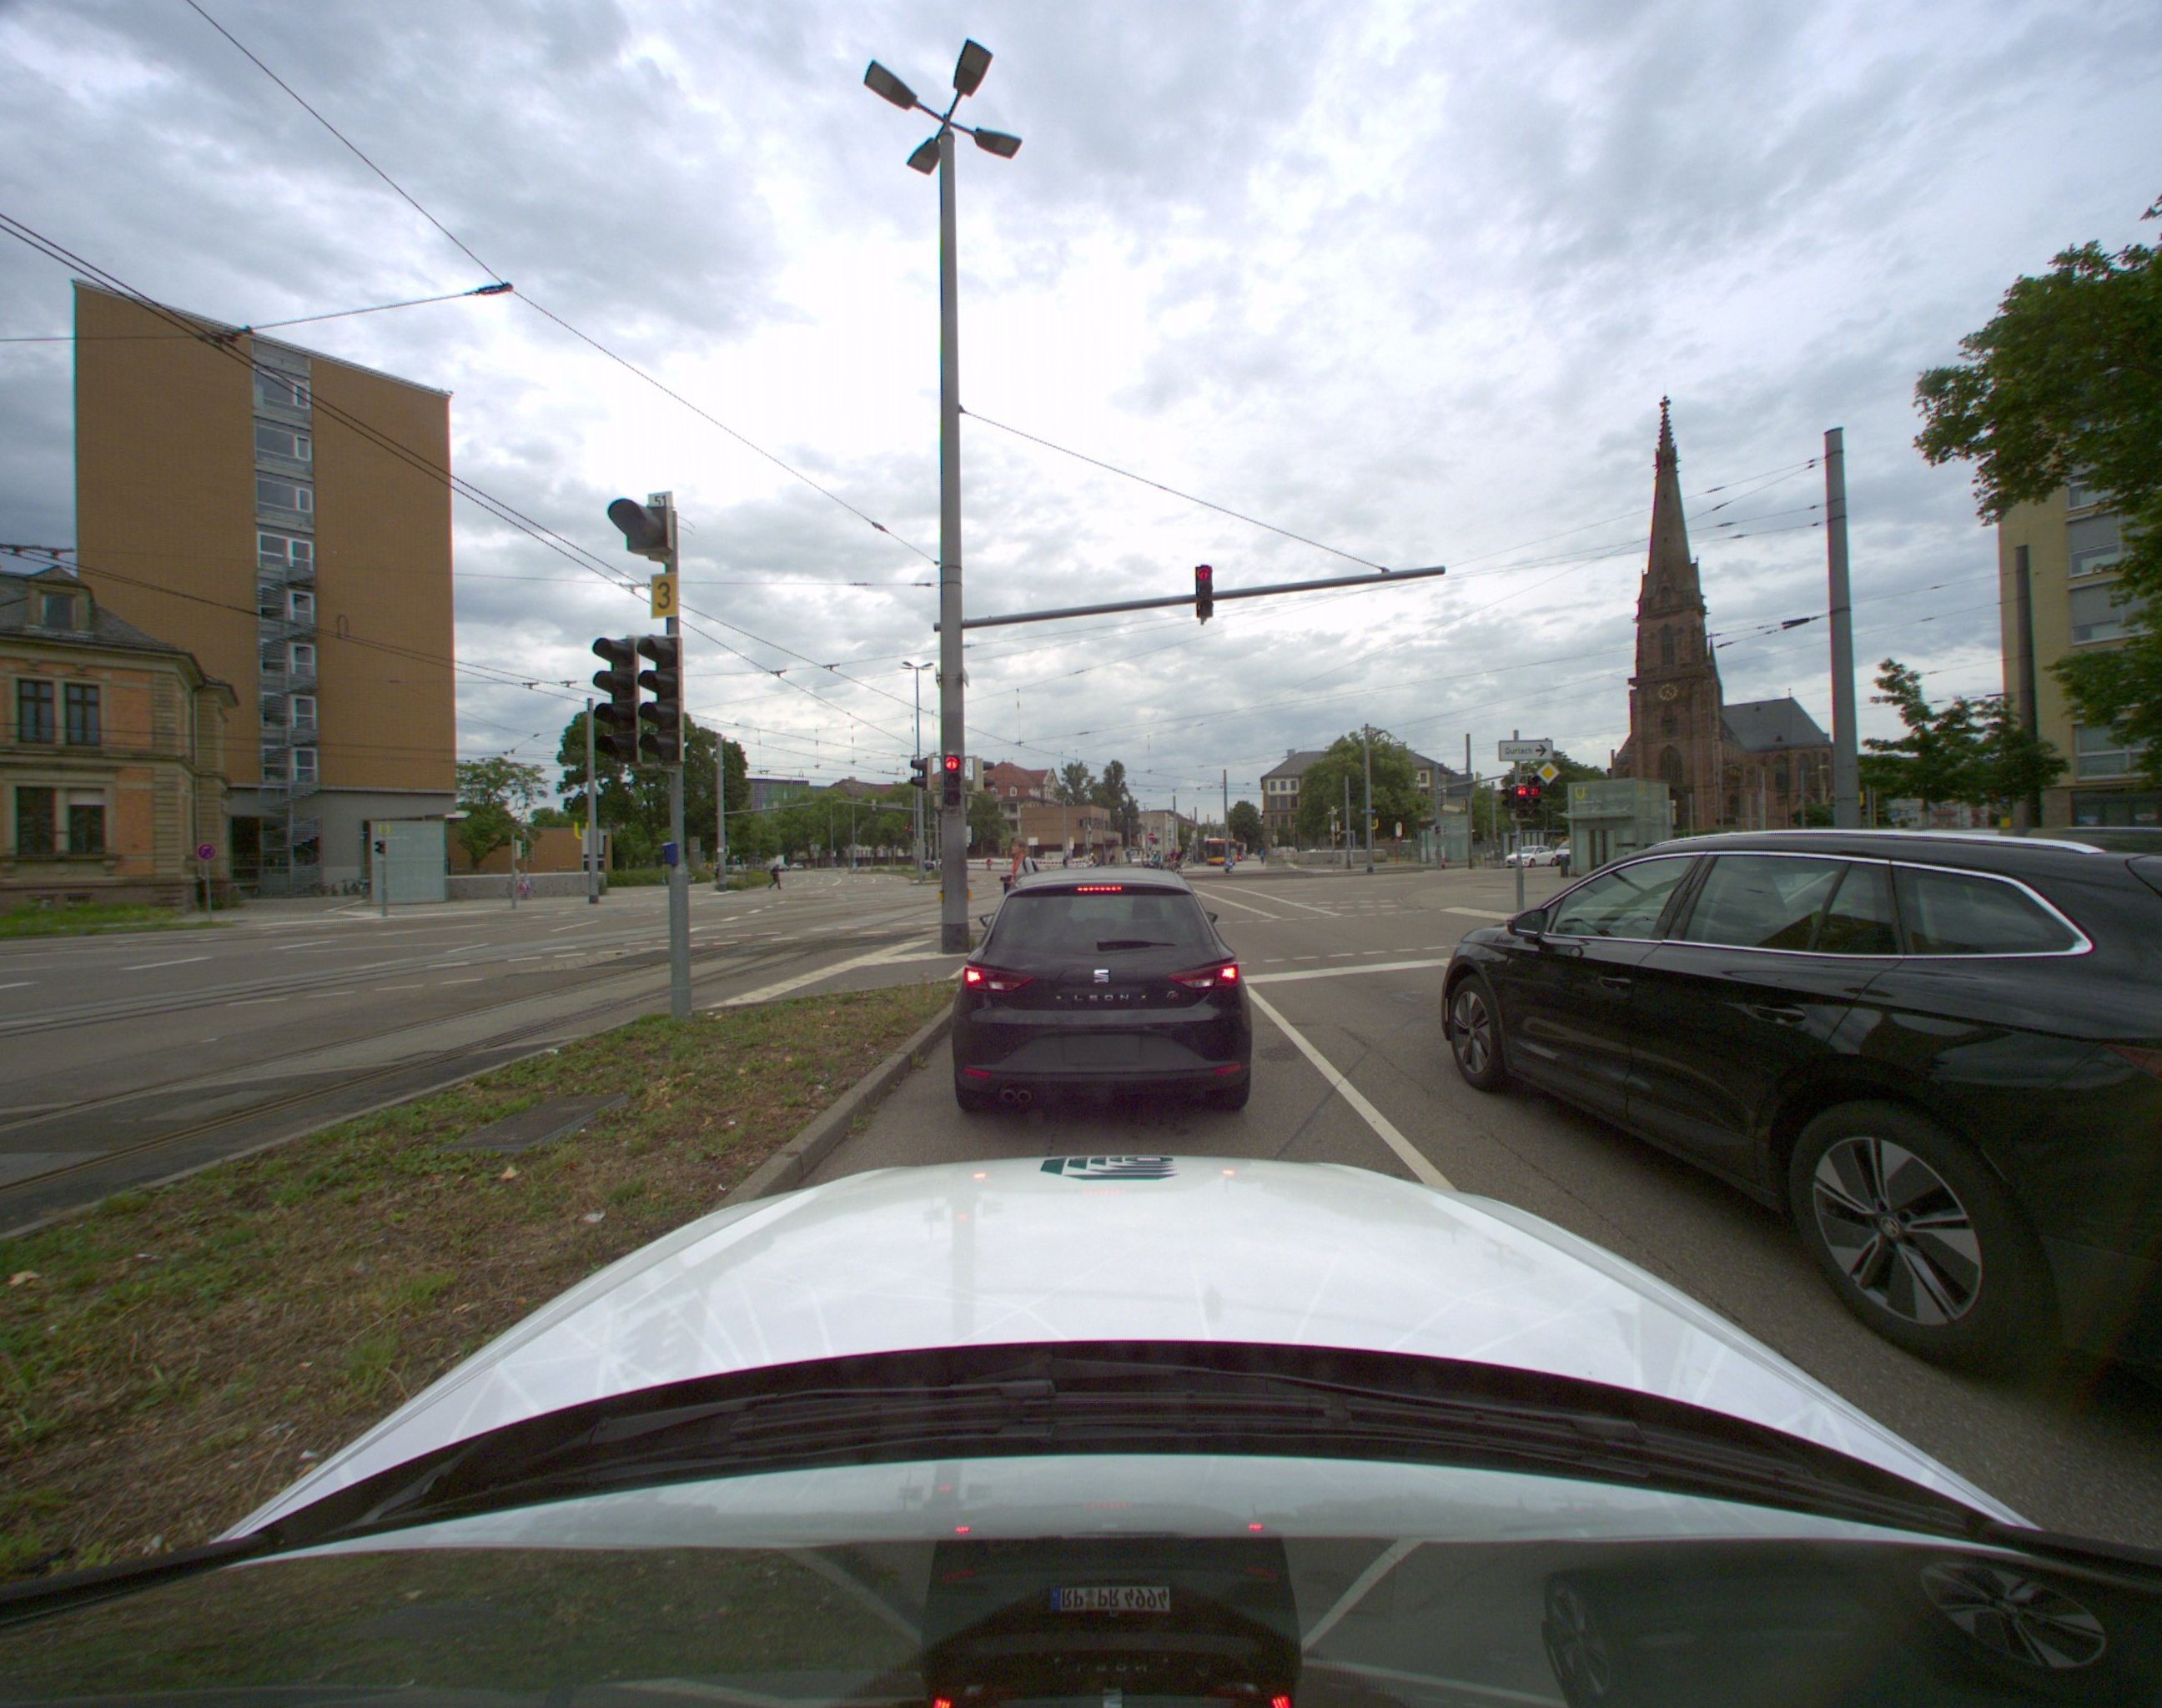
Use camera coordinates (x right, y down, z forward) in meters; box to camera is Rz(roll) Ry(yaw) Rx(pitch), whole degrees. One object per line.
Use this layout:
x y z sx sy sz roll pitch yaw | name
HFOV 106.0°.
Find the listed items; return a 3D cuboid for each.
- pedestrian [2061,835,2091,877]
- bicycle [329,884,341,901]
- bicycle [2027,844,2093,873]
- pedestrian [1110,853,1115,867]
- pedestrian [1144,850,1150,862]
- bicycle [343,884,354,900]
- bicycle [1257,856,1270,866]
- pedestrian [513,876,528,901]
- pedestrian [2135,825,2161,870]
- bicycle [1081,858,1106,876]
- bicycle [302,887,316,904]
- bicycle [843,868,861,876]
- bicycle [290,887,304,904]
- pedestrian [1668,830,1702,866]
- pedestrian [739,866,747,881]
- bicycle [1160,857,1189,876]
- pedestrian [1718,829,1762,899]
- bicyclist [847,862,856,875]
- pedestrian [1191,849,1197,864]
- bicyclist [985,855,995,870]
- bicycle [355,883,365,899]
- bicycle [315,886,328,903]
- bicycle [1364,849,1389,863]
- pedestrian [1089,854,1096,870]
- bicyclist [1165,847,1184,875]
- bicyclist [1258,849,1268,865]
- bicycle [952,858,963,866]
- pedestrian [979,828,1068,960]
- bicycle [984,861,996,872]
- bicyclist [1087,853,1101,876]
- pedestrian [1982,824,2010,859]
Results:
39.505 0.060 32.321 0.875 1.638 0.631 -1 0 -32 | pedestrian
-51.150 2.631 55.834 0.575 1.106 1.411 -1 0 -41 | bicycle
31.509 0.141 26.216 0.596 0.917 1.253 -1 0 -28 | bicycle
4.360 0.834 112.732 0.618 1.918 0.711 -2 0 5 | pedestrian
11.320 0.333 139.464 0.615 1.918 0.715 -3 -2 27 | pedestrian
-50.647 2.622 56.278 0.512 1.049 1.411 -1 0 -41 | bicycle
21.303 0.796 95.154 0.863 1.104 2.299 -1 0 -3 | bicycle
-30.727 1.911 44.635 0.492 1.336 0.577 -2 -1 41 | pedestrian
39.282 -0.250 29.864 0.875 1.638 0.631 -1 0 -31 | pedestrian
0.950 0.993 62.470 1.736 1.321 0.641 -1 0 -21 | bicycle
-52.081 2.770 54.952 0.575 1.106 1.411 -1 0 -41 | bicycle
-35.763 2.751 127.053 0.930 1.179 2.747 -2 0 30 | bicycle
-52.531 2.784 54.547 0.575 1.106 1.411 -1 0 -41 | bicycle
31.246 -0.297 42.124 0.950 1.797 1.076 -1 -2 -32 | pedestrian
-43.719 2.539 105.278 0.880 1.981 0.791 -1 -2 -17 | pedestrian
6.215 0.821 54.282 2.044 1.184 0.768 -1 0 -44 | bicycle
18.743 0.281 23.161 0.878 1.930 1.023 -1 0 43 | pedestrian
-35.779 2.317 127.057 0.928 2.013 0.984 -2 0 30 | bicyclist
14.401 0.368 103.942 0.617 1.918 0.701 -2 0 11 | pedestrian
-10.644 0.968 95.141 0.886 1.732 0.888 -1 0 -20 | bicyclist
-50.233 2.592 56.717 0.484 1.049 1.411 -1 0 -41 | bicycle
-51.635 2.771 55.357 0.575 1.106 1.411 -1 0 -41 | bicycle
29.667 0.181 81.711 2.248 1.331 0.709 -2 -2 9 | bicycle
1.361 0.936 96.717 0.704 1.918 0.625 -2 0 9 | pedestrian
6.210 0.466 54.298 1.003 1.898 0.768 -1 -1 -44 | bicyclist
21.288 0.383 95.207 0.869 1.851 1.046 -1 0 -4 | bicyclist
-19.821 1.284 130.994 0.429 1.236 1.838 -3 -2 45 | bicycle
-0.872 0.582 12.402 1.110 1.907 0.727 0 -1 -41 | pedestrian
-10.717 1.443 95.408 0.895 1.178 2.287 -1 0 -20 | bicycle
1.013 0.808 62.502 0.857 1.673 0.650 -1 0 -21 | bicyclist
43.882 -0.597 39.051 0.640 1.638 0.778 -1 0 -35 | pedestrian
